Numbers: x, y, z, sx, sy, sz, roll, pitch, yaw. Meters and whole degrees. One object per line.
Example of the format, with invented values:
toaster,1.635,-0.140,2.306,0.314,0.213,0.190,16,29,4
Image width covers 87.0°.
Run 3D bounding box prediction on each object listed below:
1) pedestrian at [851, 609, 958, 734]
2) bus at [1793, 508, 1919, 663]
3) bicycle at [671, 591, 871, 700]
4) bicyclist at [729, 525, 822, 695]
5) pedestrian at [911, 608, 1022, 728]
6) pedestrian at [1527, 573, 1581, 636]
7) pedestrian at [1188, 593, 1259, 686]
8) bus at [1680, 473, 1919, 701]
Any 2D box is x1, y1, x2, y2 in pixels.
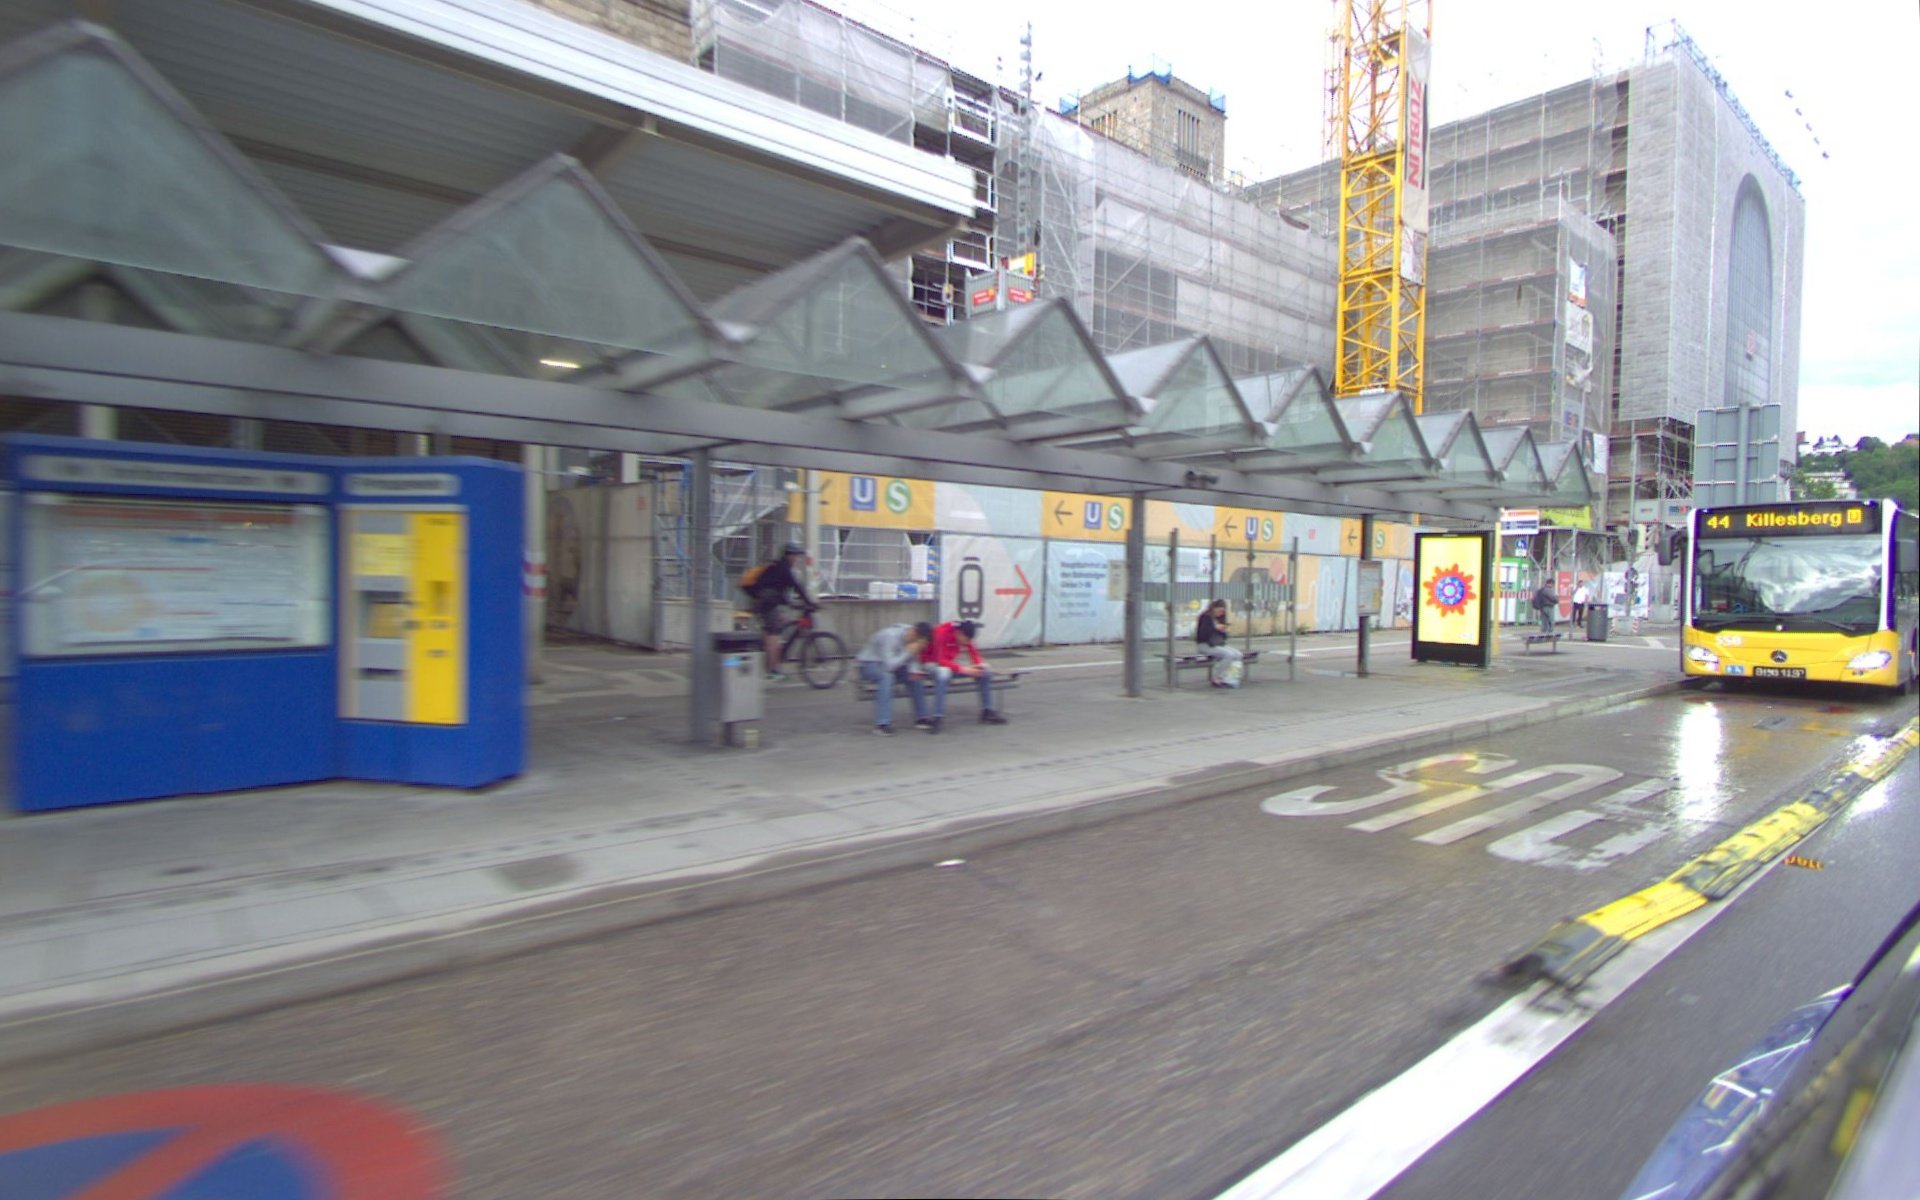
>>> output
pedestrian,-0.526,0.640,9.506,0.696,1.078,0.729,0,2,-41
bus,22.152,-0.368,23.689,8.923,3.107,2.759,-1,1,-42
bicycle,-2.292,0.506,12.547,2.365,1.212,0.816,0,2,-43
bicyclist,-2.291,0.100,12.538,0.804,2.006,0.824,0,2,-42
pedestrian,0.063,0.642,9.958,0.794,1.078,0.729,0,2,-41
pedestrian,15.887,0.104,27.075,0.811,1.655,0.911,0,1,-14
pedestrian,3.616,0.520,13.882,0.654,1.201,0.666,0,2,-41
bus,15.504,-0.255,17.771,8.838,3.104,2.759,-1,1,-42
